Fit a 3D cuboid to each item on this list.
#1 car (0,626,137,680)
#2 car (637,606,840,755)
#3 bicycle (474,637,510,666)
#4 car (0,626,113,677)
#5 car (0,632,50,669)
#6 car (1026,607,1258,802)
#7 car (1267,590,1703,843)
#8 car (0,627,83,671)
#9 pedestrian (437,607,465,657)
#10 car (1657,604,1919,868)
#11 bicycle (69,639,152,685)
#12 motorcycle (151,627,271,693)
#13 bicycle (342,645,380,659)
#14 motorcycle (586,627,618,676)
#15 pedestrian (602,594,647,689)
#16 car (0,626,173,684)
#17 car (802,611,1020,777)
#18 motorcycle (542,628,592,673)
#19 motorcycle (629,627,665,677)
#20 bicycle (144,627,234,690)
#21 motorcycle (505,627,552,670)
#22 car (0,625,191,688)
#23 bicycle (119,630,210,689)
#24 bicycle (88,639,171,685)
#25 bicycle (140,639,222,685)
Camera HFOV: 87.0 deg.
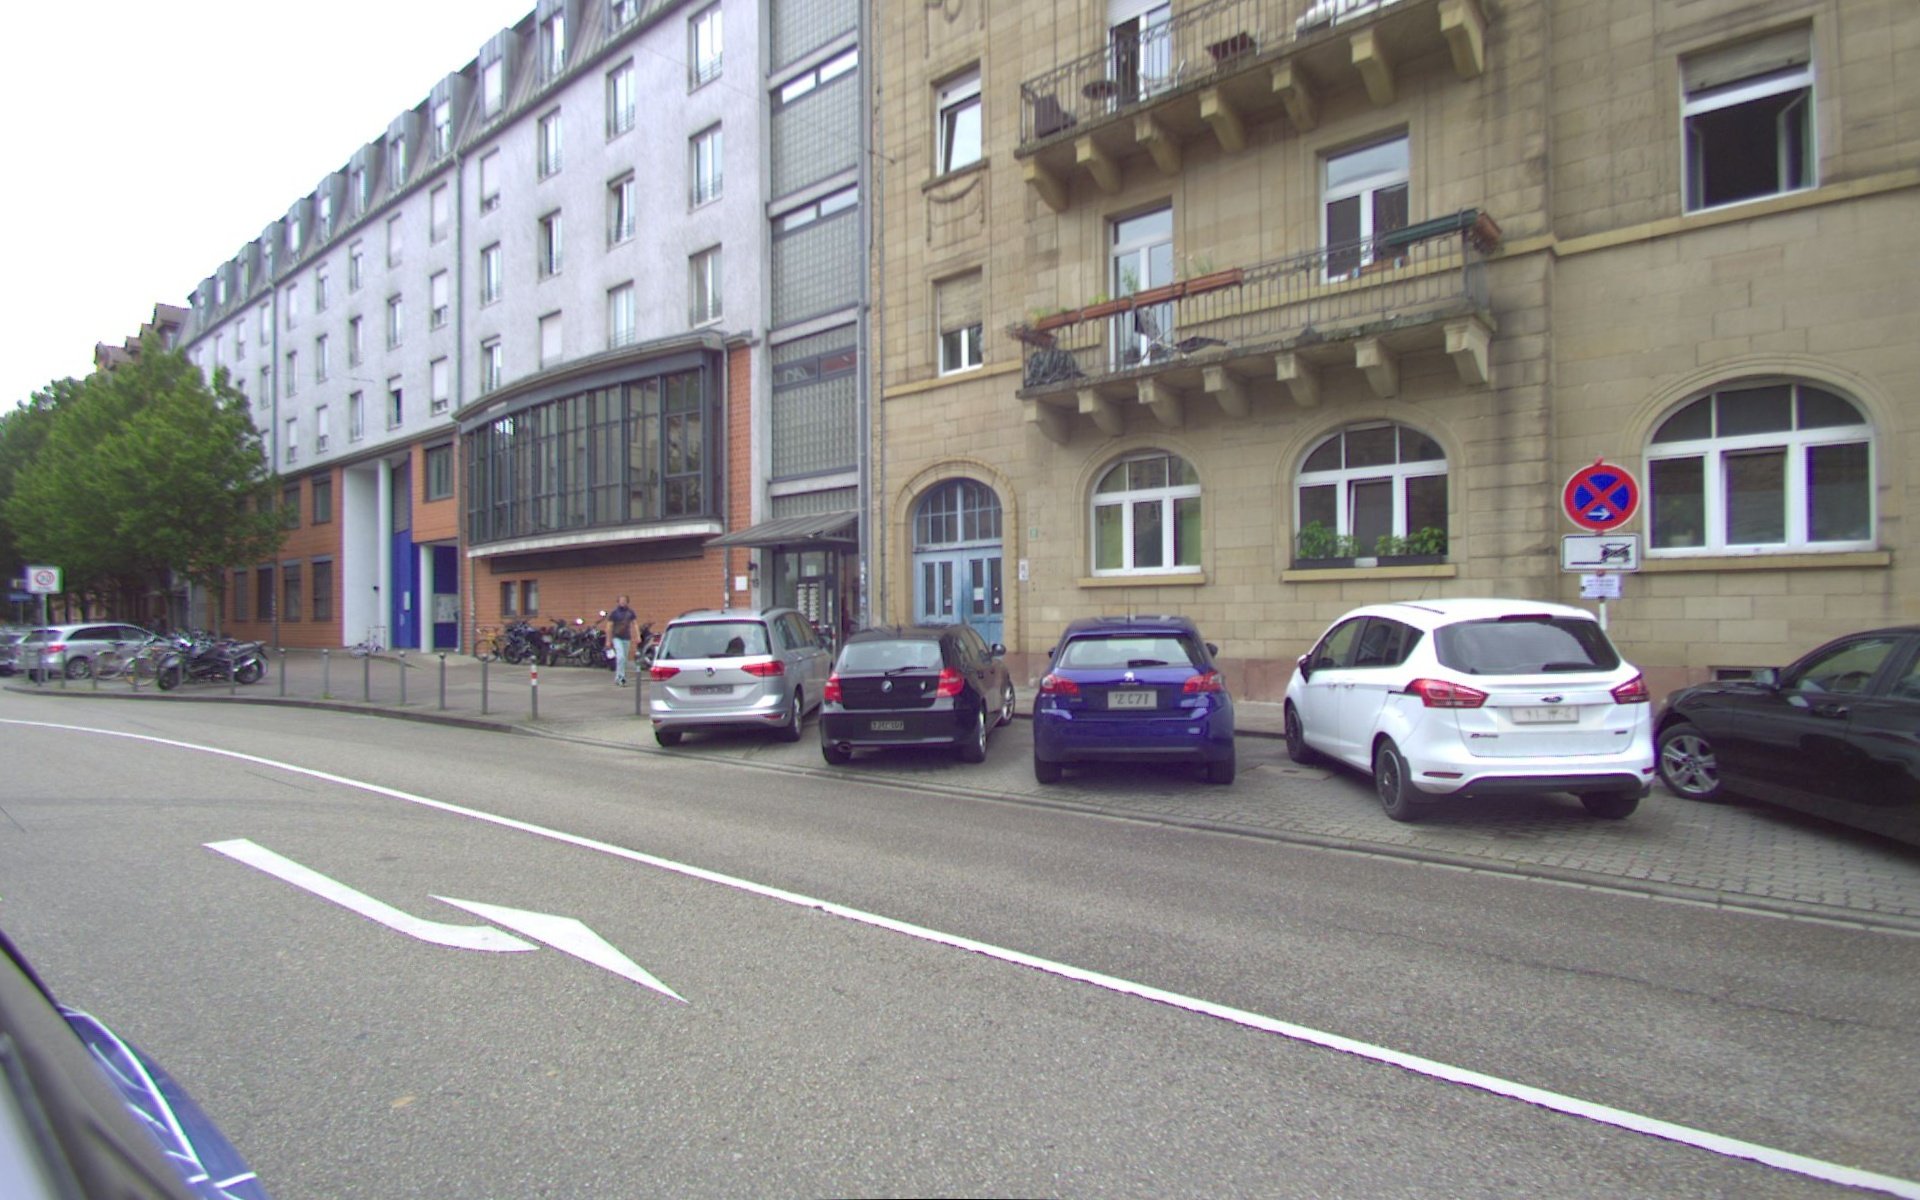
[{"bbox_3d":[-29.492,1.667,32.801,1.983,1.641,3.976,-1,-1,18],"label":"car"},{"bbox_3d":[-2.766,0.929,13.526,1.710,1.565,3.998,-2,1,1],"label":"car"},{"bbox_3d":[-13.366,1.471,28.893,1.581,0.793,0.332,-2,-2,42],"label":"bicycle"},{"bbox_3d":[-31.709,1.709,34.464,1.983,1.641,3.976,-1,-1,18],"label":"car"},{"bbox_3d":[-41.248,2.144,42.645,1.723,1.508,3.976,-1,-1,18],"label":"car"},{"bbox_3d":[1.791,0.878,10.057,1.804,1.456,3.737,-2,1,11],"label":"car"},{"bbox_3d":[3.985,0.741,8.524,1.681,1.565,3.997,-2,1,3],"label":"car"},{"bbox_3d":[-36.185,1.846,38.372,1.983,1.641,3.976,-1,-1,18],"label":"car"},{"bbox_3d":[-17.142,1.070,34.066,0.622,1.662,0.677,-1,-1,42],"label":"pedestrian"},{"bbox_3d":[6.192,0.766,5.975,1.641,1.428,3.994,-1,0,5],"label":"car"},{"bbox_3d":[-22.228,1.611,26.503,0.416,1.082,1.609,-2,0,39],"label":"bicycle"},{"bbox_3d":[-17.023,1.336,23.054,0.599,1.363,2.096,-2,0,41],"label":"motorcycle"},{"bbox_3d":[-20.206,1.754,34.169,0.527,0.440,0.997,1,0,42],"label":"bicycle"},{"bbox_3d":[-8.506,1.204,24.014,0.438,1.106,1.768,0,-2,-29],"label":"motorcycle"},{"bbox_3d":[-6.677,0.815,20.153,0.642,1.837,0.613,-2,-2,41],"label":"pedestrian"},{"bbox_3d":[-26.850,1.620,30.945,1.983,1.641,3.976,-1,-1,18],"label":"car"},{"bbox_3d":[-0.370,0.929,11.624,1.713,1.449,3.990,-2,1,9],"label":"car"},{"bbox_3d":[-10.019,1.262,25.751,1.762,1.106,0.440,-2,-2,42],"label":"motorcycle"},{"bbox_3d":[-7.153,1.167,23.114,0.438,1.106,1.768,0,-2,-29],"label":"motorcycle"},{"bbox_3d":[-17.999,1.343,23.651,0.416,1.363,1.609,-2,0,39],"label":"bicycle"},{"bbox_3d":[-11.542,1.285,27.057,1.762,1.106,0.440,-2,-2,42],"label":"motorcycle"},{"bbox_3d":[-24.843,1.570,29.202,1.758,1.641,3.976,-1,-1,18],"label":"car"},{"bbox_3d":[-18.755,1.380,23.892,0.416,1.299,1.609,-2,0,39],"label":"bicycle"},{"bbox_3d":[-21.567,1.599,26.297,0.416,1.082,1.609,-2,0,39],"label":"bicycle"},{"bbox_3d":[-20.157,1.587,26.216,0.416,1.082,1.609,-2,0,39],"label":"bicycle"}]
